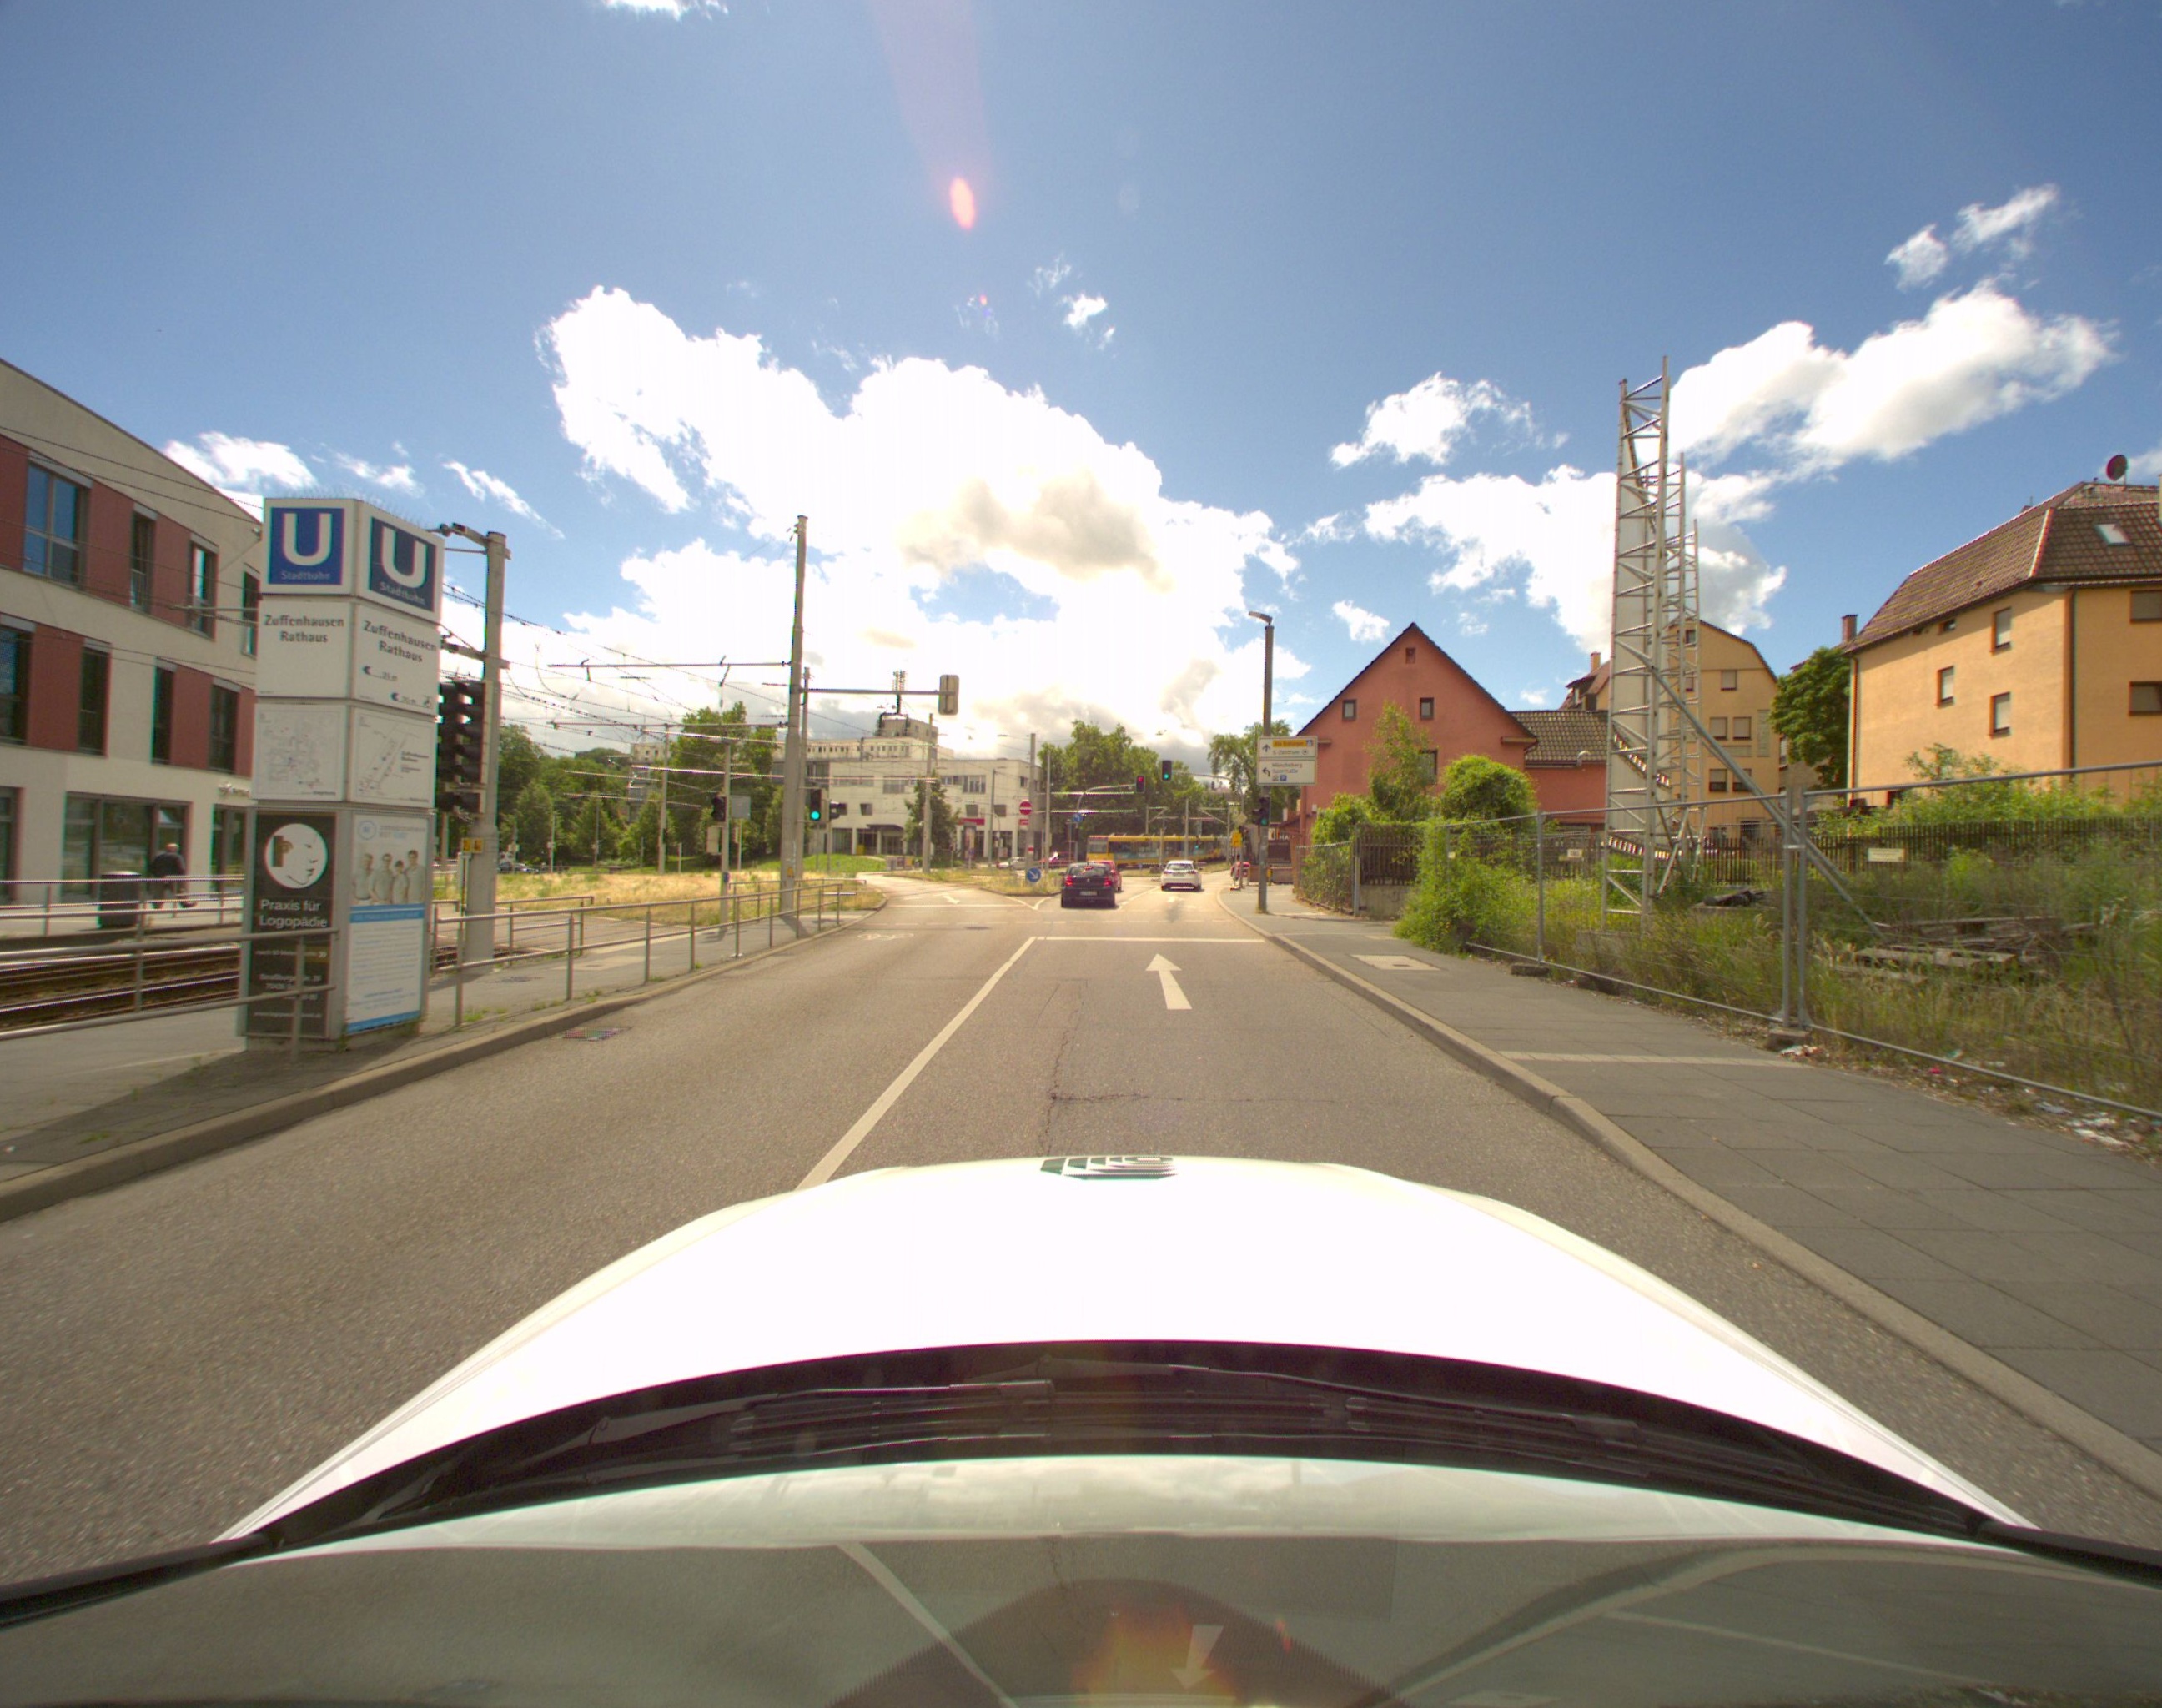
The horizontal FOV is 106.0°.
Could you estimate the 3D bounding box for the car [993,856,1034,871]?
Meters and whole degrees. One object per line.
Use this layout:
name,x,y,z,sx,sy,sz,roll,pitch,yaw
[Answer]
car,-7.180,0.986,87.179,1.975,1.464,4.023,1,-1,44

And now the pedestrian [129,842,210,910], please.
pedestrian,-22.042,0.540,19.719,0.852,1.572,0.857,4,-2,-12

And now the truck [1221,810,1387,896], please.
truck,13.377,-0.014,49.218,8.984,4.536,3.208,3,-2,-5

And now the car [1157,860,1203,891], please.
car,4.973,1.046,40.451,1.875,1.465,4.082,1,-1,12

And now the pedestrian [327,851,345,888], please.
pedestrian,-32.024,0.669,34.997,0.471,1.531,0.401,5,-3,-43

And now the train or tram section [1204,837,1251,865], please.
train or tram section,22.320,-0.439,122.731,2.673,3.750,18.463,2,1,24

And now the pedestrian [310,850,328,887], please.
pedestrian,-32.377,0.629,34.602,0.471,1.531,0.453,5,-3,-43

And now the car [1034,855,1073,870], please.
car,-3.082,0.925,92.199,1.975,1.600,4.224,1,0,43

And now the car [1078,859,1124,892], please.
car,0.990,0.950,37.876,1.702,1.393,3.817,1,0,8

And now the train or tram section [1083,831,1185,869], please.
train or tram section,6.311,-0.435,89.812,2.671,3.750,18.476,2,1,32

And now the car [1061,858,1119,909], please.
car,0.270,0.901,26.608,1.721,1.456,3.808,1,0,0

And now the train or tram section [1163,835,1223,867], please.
train or tram section,14.844,-0.390,105.859,2.673,3.750,18.463,2,1,24

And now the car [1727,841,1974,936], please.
car,10.159,0.411,10.949,1.067,1.121,2.447,-1,0,3
